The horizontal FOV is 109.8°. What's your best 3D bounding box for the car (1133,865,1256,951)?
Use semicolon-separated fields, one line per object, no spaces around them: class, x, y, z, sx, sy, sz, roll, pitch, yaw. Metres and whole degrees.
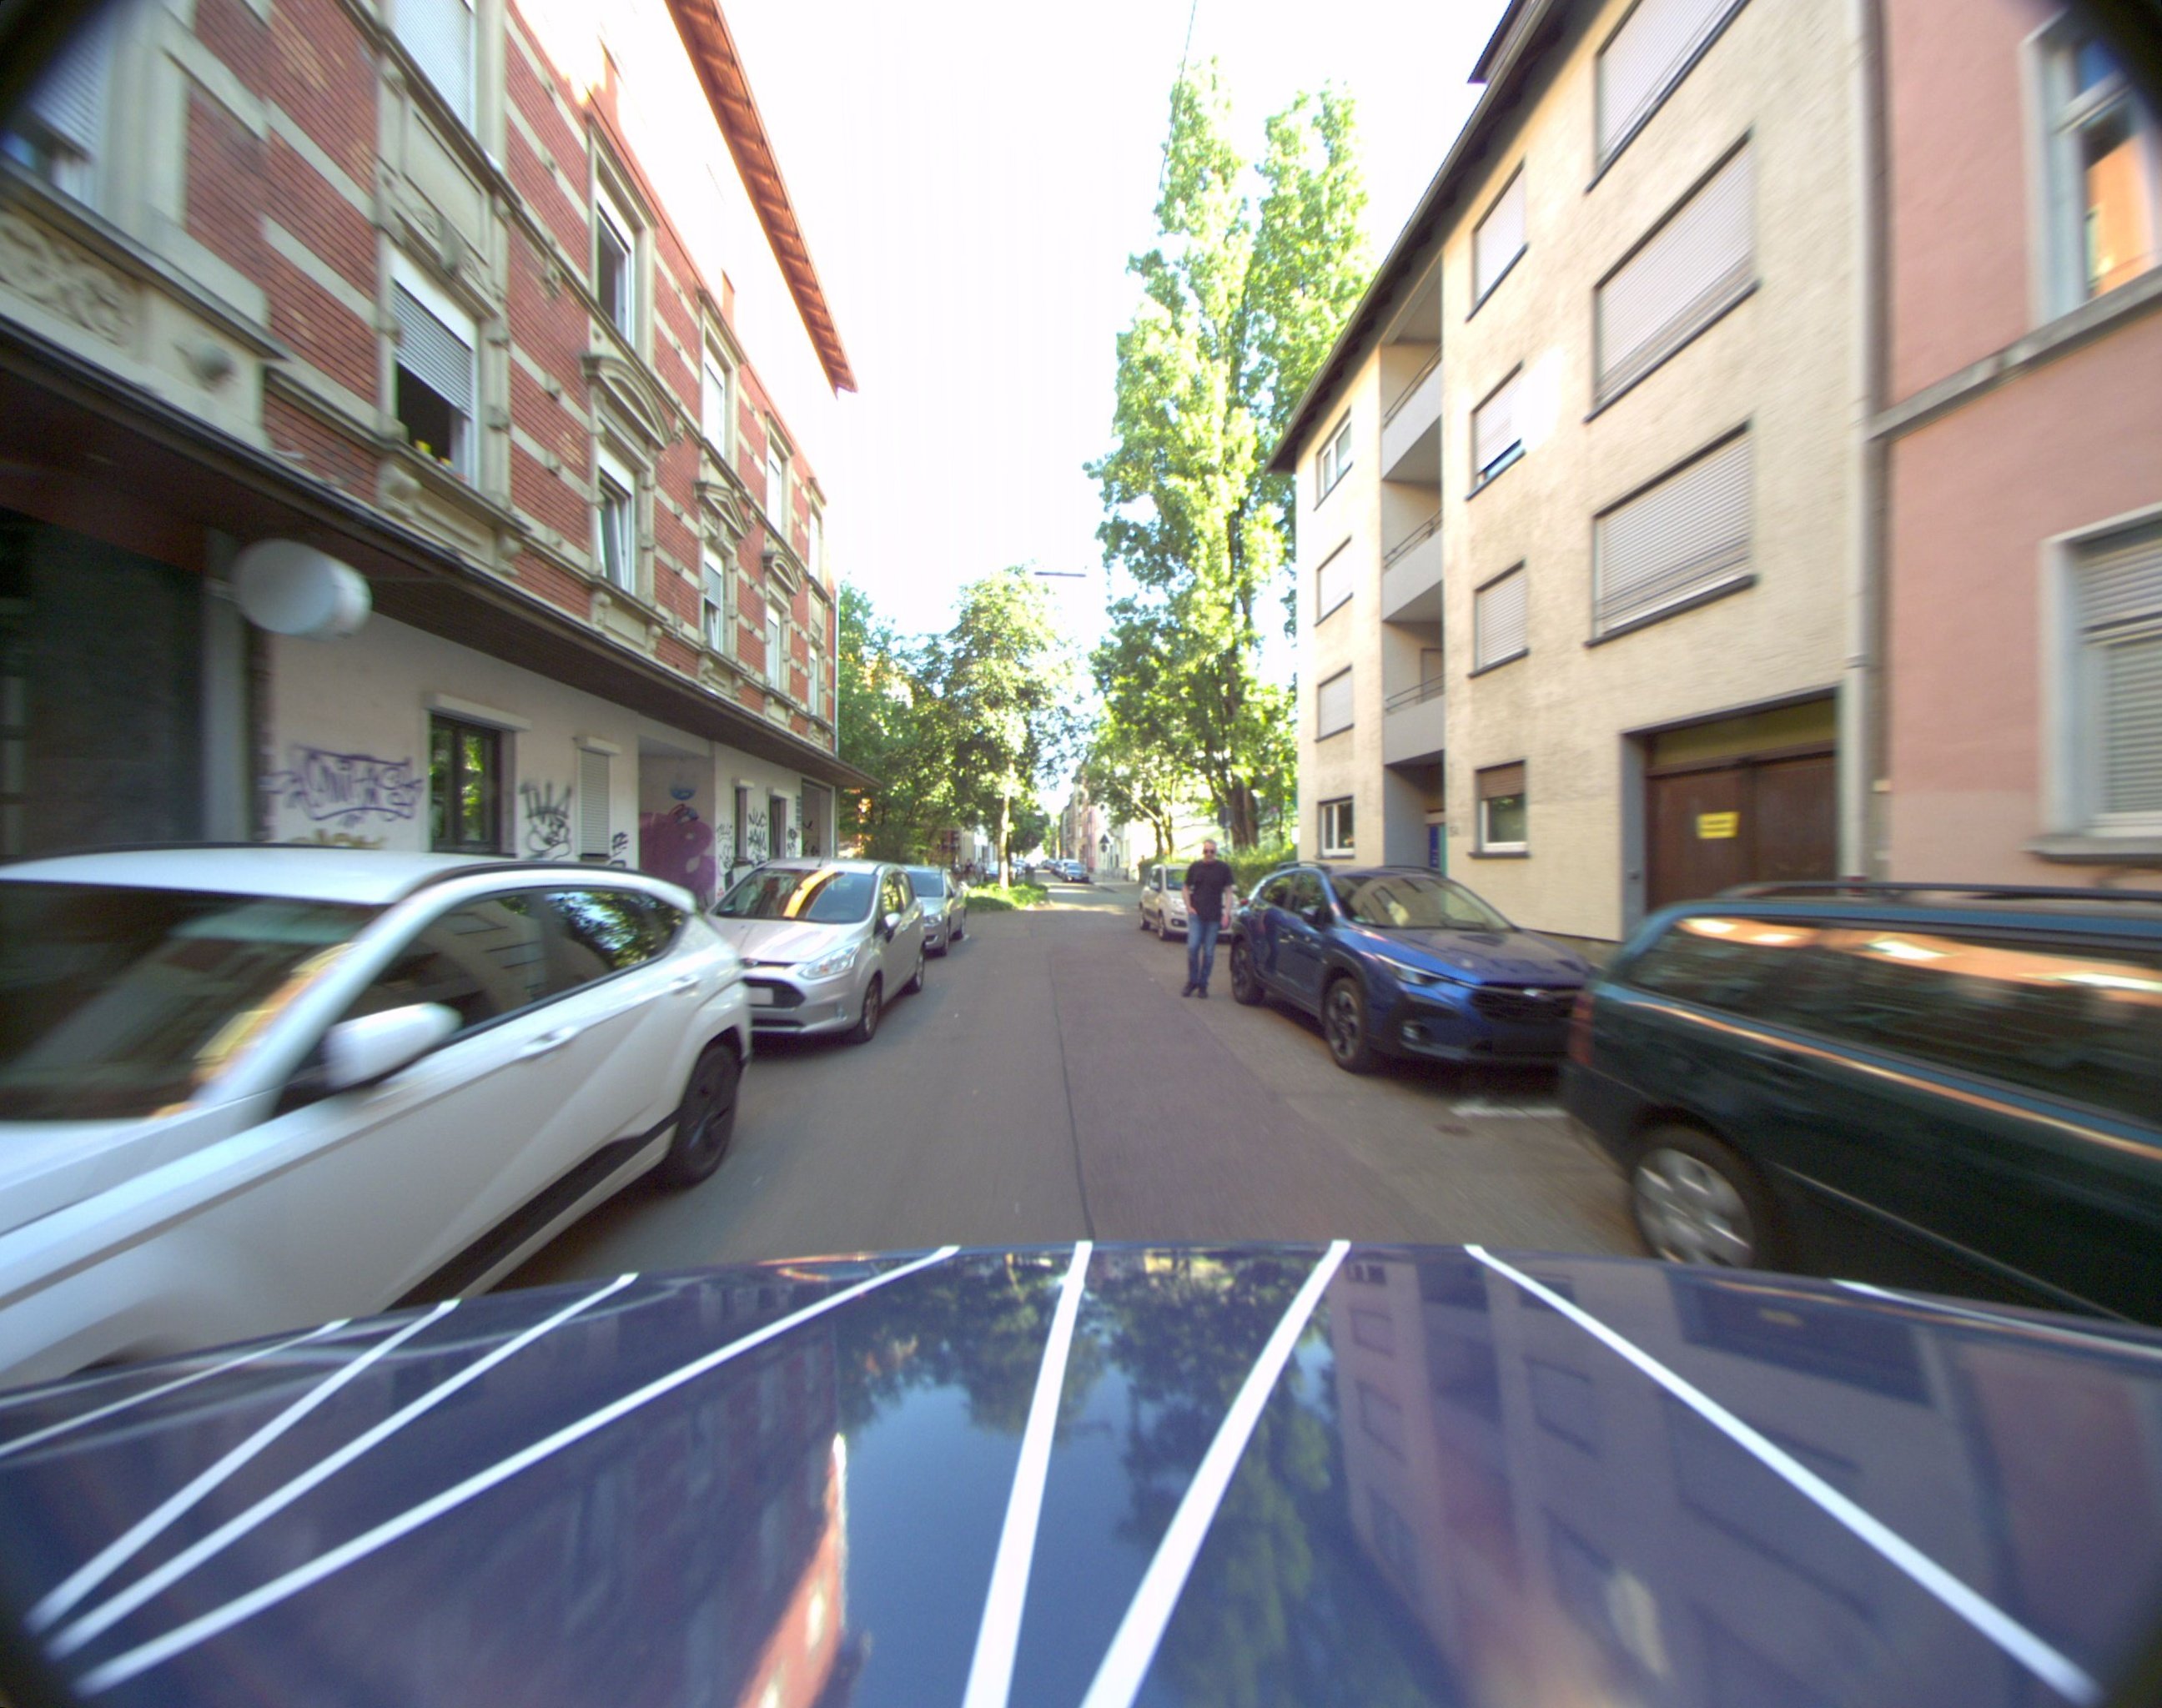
car;2.263;1.046;16.188;1.680;1.530;3.867;1;0;-6

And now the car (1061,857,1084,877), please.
car;-0.789;1.174;69.994;1.755;1.731;4.313;3;0;-5

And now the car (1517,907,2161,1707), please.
car;2.969;0.998;1.314;1.679;1.503;4.413;1;0;-4

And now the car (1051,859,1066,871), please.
car;-3.101;1.459;104.521;1.769;1.524;4.102;3;0;-3

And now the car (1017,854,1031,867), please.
car;-9.450;1.043;126.487;1.866;1.970;4.480;3;0;0

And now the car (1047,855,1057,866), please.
car;-5.890;1.222;154.114;1.769;2.074;4.262;3;0;-3

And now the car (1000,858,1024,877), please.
car;-6.090;1.187;67.347;1.770;1.657;4.327;1;0;-2

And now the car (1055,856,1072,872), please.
car;-2.052;1.133;89.345;1.769;1.814;4.102;3;0;-3

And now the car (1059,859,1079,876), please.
car;-1.138;1.341;74.918;1.675;1.518;4.085;3;0;2

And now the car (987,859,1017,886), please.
car;-4.944;1.143;47.927;1.726;1.485;4.411;3;0;-5

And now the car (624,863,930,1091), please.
car;-2.638;0.935;7.594;1.644;1.646;3.868;0;0;-2

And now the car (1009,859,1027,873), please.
car;-7.045;1.322;85.253;1.769;1.508;4.102;3;0;-3

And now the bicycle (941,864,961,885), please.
bicycle;-7.815;1.217;45.728;0.849;1.193;1.981;1;-1;-2

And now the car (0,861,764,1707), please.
car;-2.636;0.879;2.202;1.751;1.666;4.339;1;0;-2

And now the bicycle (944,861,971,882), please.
bicycle;-7.866;1.090;48.372;1.294;1.294;2.326;2;0;0

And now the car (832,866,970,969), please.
car;-3.085;1.016;13.909;1.726;1.553;4.397;0;0;-3

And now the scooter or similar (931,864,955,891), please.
scooter or similar;-6.597;1.107;36.216;0.547;1.254;1.469;1;0;-34

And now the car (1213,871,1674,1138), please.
car;2.647;0.985;6.883;1.734;1.530;4.375;2;0;-6

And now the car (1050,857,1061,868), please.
car;-4.509;1.499;133.392;1.769;1.846;3.992;3;0;-3

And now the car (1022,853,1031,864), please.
car;-10.855;0.926;151.696;1.769;2.006;4.262;3;0;-3

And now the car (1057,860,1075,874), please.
car;-1.710;1.399;84.008;1.769;1.463;3.814;3;0;-3

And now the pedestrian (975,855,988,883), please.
pedestrian;-6.329;0.937;48.287;0.712;1.699;0.752;3;0;-4

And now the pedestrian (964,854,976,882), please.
pedestrian;-6.951;0.898;47.762;0.599;1.699;0.706;3;0;-4

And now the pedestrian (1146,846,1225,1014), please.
pedestrian;1.180;0.833;8.718;0.673;1.829;0.910;1;0;-5

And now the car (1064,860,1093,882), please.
car;-0.219;1.222;56.560;1.784;1.435;4.391;3;0;-4

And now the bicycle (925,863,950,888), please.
bicycle;-7.591;1.102;40.237;0.849;1.260;2.692;1;-1;-2
